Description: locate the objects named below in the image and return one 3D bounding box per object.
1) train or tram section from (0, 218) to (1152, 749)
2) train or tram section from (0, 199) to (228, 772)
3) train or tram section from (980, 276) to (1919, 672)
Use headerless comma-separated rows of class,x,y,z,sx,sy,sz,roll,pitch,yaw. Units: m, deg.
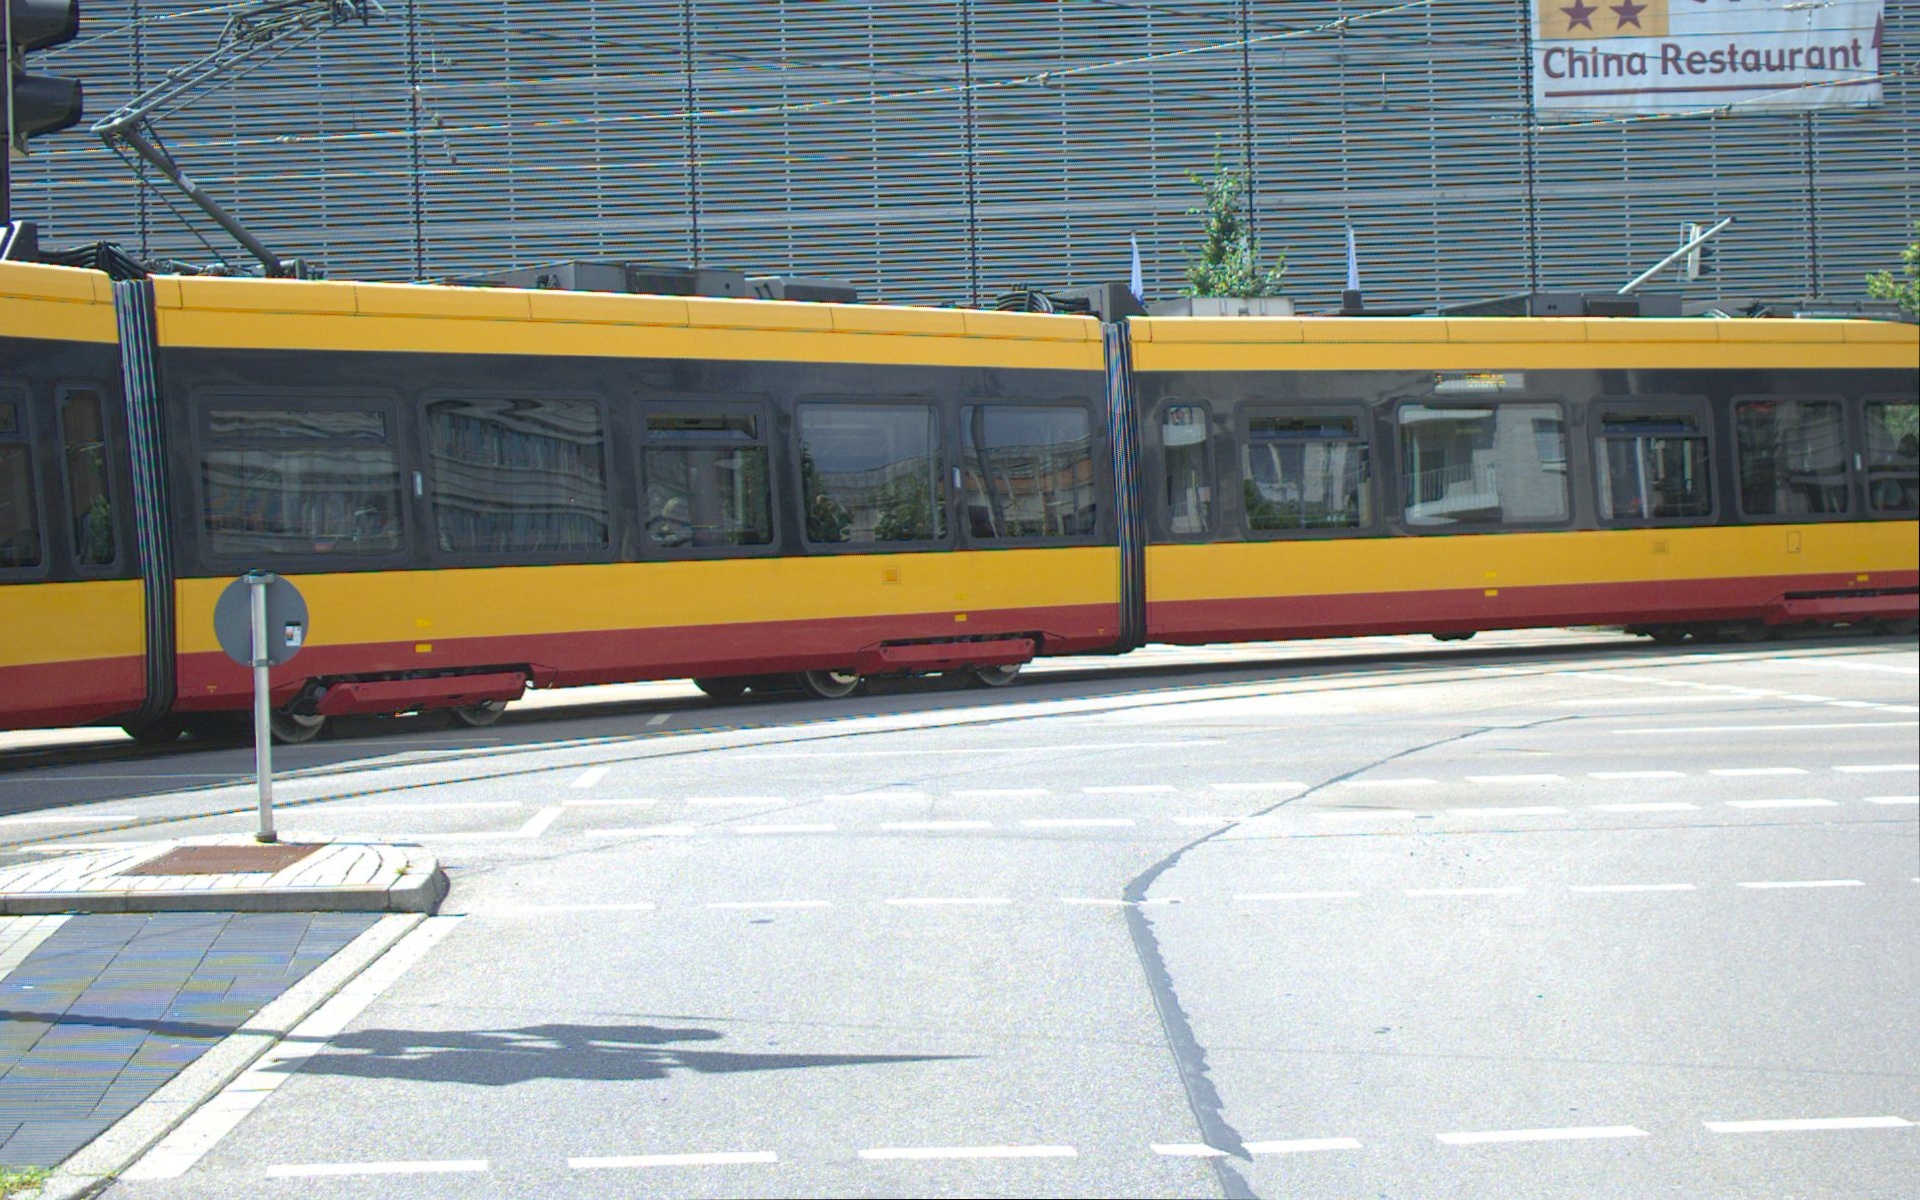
train or tram section,-3.038,-0.949,28.358,3.062,3.590,10.967,1,2,42
train or tram section,-9.064,-0.592,18.161,3.219,3.587,13.486,0,2,21
train or tram section,6.520,-1.309,35.541,12.593,3.608,3.066,-1,2,-27
